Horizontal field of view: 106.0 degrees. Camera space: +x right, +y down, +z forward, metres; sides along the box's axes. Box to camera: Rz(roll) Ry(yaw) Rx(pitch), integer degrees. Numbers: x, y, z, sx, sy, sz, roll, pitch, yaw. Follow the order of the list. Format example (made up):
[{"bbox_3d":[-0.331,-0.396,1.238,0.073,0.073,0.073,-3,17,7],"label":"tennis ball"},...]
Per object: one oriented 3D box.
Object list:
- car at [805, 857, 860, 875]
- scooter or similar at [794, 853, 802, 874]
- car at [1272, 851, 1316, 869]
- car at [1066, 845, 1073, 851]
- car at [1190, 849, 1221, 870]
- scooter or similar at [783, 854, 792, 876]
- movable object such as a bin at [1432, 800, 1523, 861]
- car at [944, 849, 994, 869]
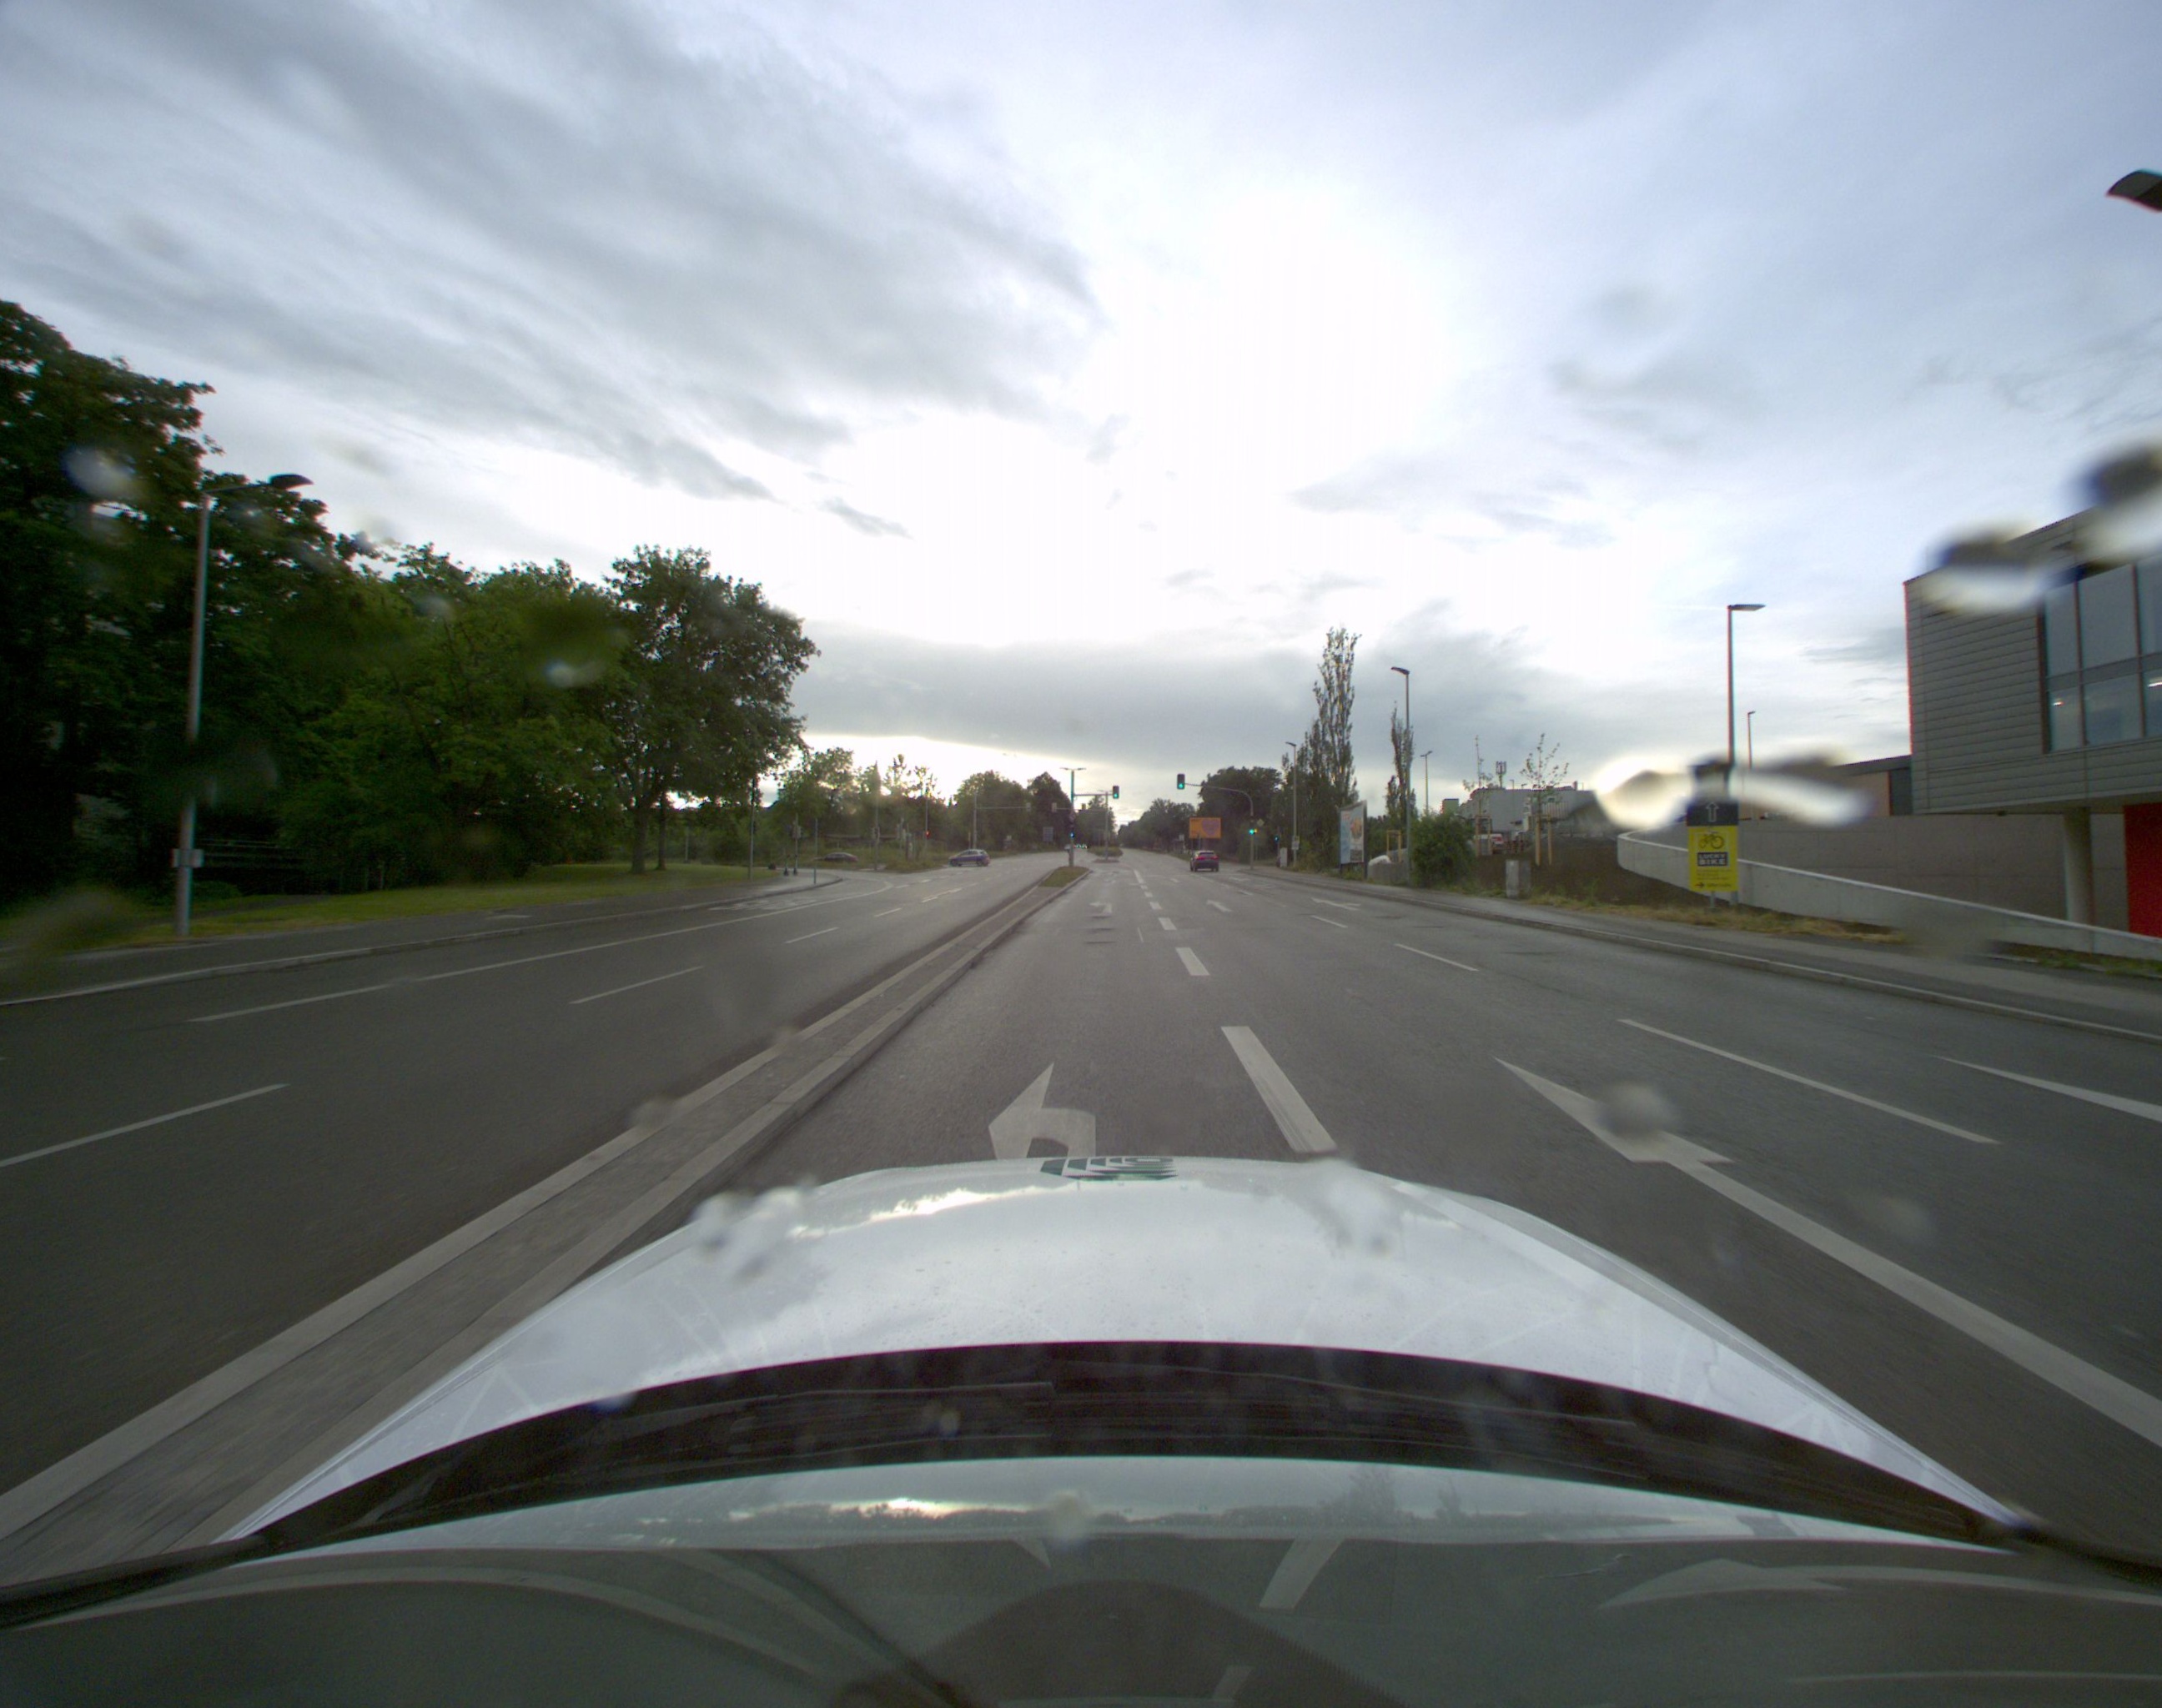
[{"bbox_3d":[-24.141,1.134,79.143,4.638,1.583,2.170,2,-1,-3],"label":"car"},{"bbox_3d":[-17.407,0.580,50.063,0.311,1.218,1.303,0,1,-11],"label":"scooter or similar"},{"bbox_3d":[18.395,0.490,70.176,4.189,1.470,1.729,0,1,-44],"label":"car"},{"bbox_3d":[-3.015,-1.613,214.526,1.762,1.596,4.491,1,1,2],"label":"car"},{"bbox_3d":[8.926,0.366,58.631,1.738,1.470,4.168,1,1,2],"label":"car"},{"bbox_3d":[-17.449,0.645,48.367,0.311,1.218,1.303,0,1,-11],"label":"scooter or similar"},{"bbox_3d":[22.735,-1.306,47.004,2.298,3.276,5.415,0,1,-5],"label":"movable object such as a bin"},{"bbox_3d":[-10.687,0.460,77.552,4.156,1.718,2.090,2,-1,13],"label":"car"}]
